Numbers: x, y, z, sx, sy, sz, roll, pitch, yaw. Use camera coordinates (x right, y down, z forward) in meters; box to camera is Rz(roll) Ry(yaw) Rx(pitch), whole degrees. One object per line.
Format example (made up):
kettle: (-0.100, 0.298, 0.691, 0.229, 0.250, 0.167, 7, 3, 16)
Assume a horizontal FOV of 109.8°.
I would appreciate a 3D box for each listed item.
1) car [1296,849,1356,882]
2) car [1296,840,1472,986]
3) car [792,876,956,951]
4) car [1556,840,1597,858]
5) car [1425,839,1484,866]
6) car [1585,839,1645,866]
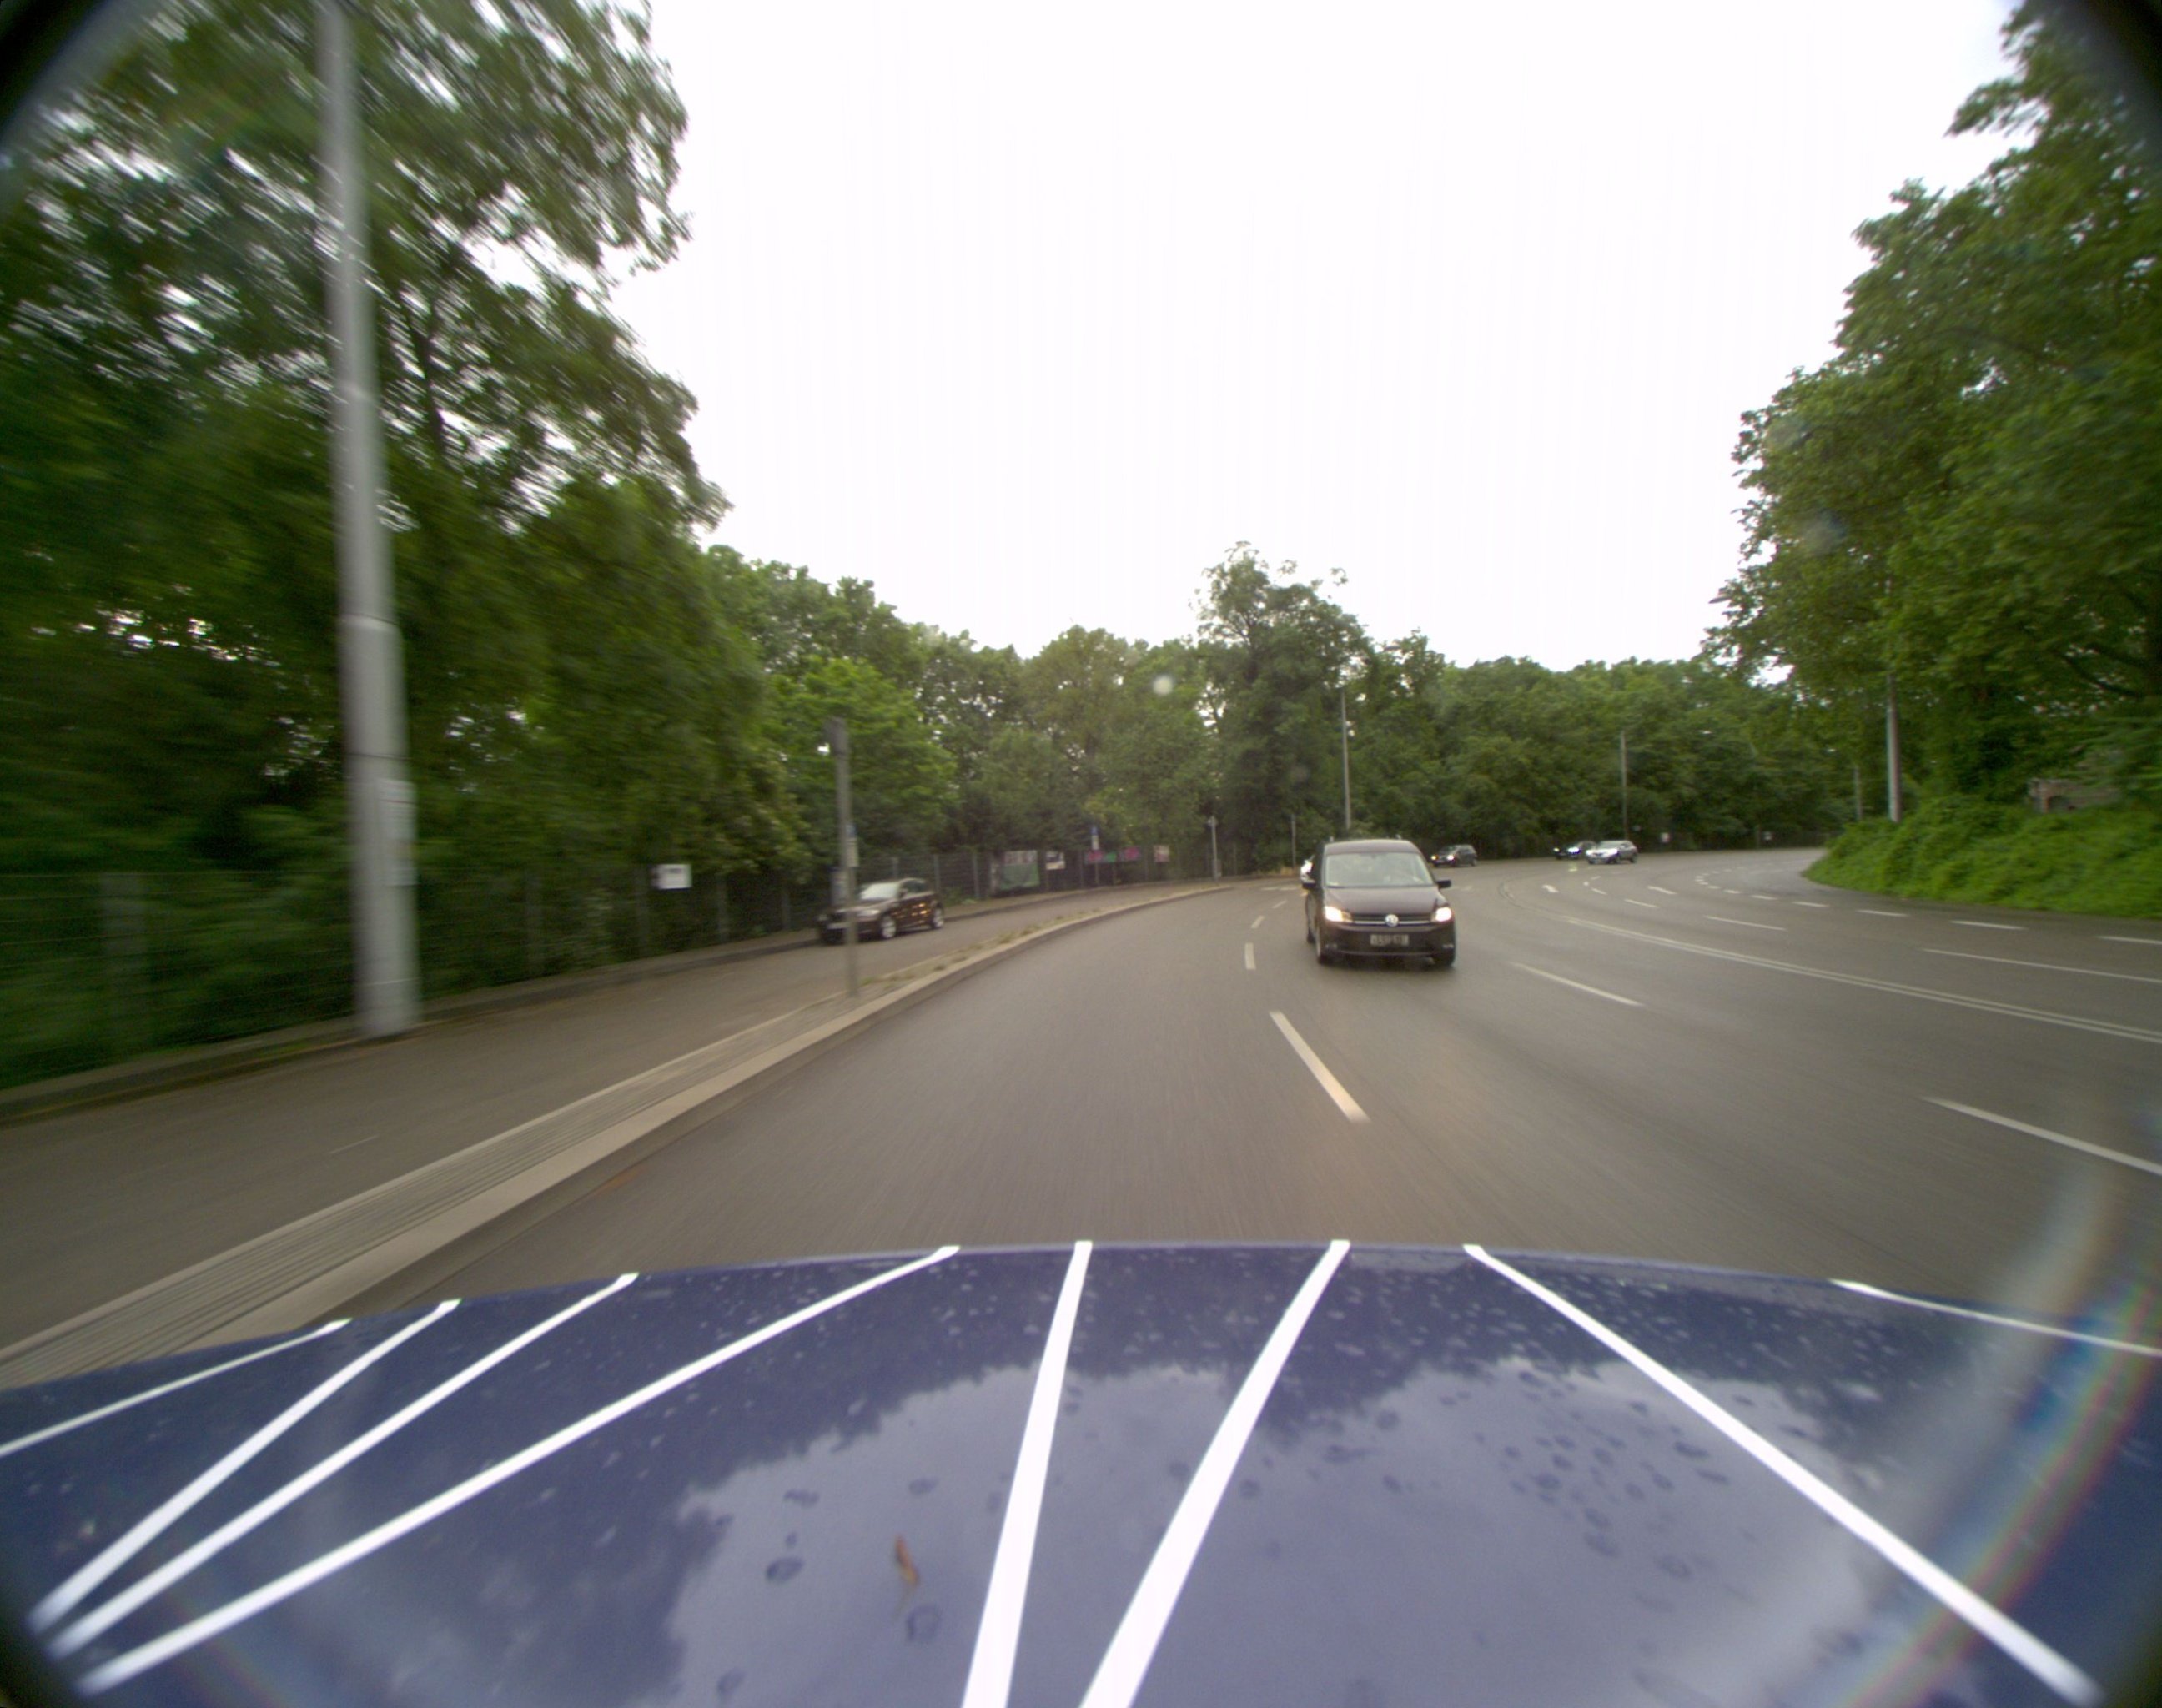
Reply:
car: (12.250, 0.552, 37.808, 1.791, 1.444, 4.007, -2, 1, 34)
car: (4.322, 0.736, 11.490, 1.793, 1.789, 4.129, -1, 0, 12)
car: (-4.957, 1.386, 18.866, 1.875, 1.368, 4.179, -6, -1, 16)
car: (40.693, -0.405, 62.396, 3.111, 1.325, 1.579, -2, 1, -31)
car: (26.136, -0.089, 53.104, 4.007, 1.735, 1.995, -2, 1, -35)
car: (37.642, -0.108, 53.524, 4.663, 1.735, 1.995, -2, 1, -35)
